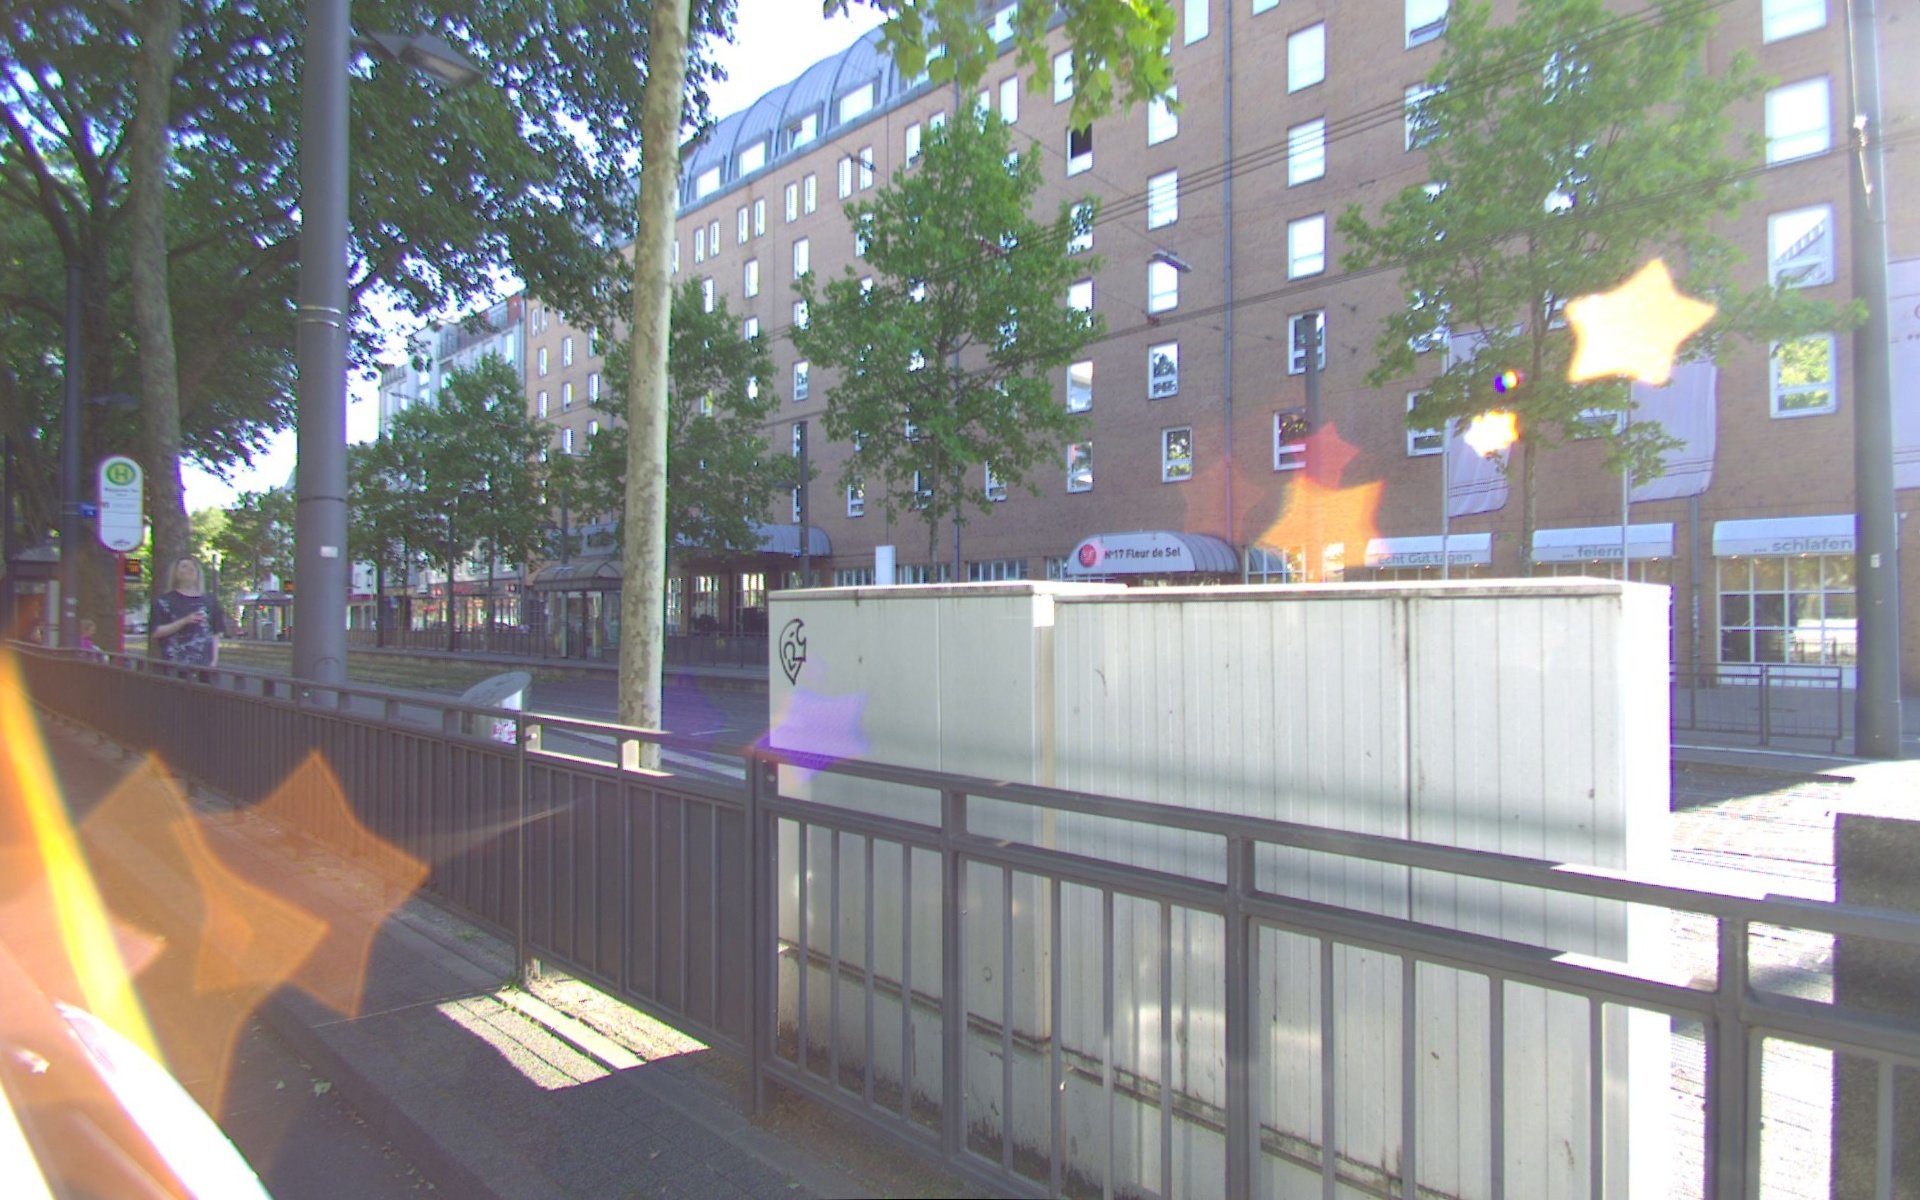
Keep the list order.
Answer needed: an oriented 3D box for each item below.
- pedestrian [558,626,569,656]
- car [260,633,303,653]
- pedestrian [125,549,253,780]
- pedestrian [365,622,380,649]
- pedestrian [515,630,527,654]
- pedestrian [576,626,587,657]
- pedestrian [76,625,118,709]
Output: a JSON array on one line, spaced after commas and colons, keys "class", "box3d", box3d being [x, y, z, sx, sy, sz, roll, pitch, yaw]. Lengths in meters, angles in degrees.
[{"class": "pedestrian", "box3d": [-19.961, 2.059, 50.899, 0.431, 1.518, 0.660, 1, -2, -27]}, {"class": "car", "box3d": [-52.565, 3.318, 78.389, 4.308, 1.500, 1.736, -2, -2, 42]}, {"class": "pedestrian", "box3d": [-6.603, 0.529, 8.688, 0.617, 1.897, 0.604, 1, 0, 13]}, {"class": "pedestrian", "box3d": [-45.834, 2.768, 78.926, 0.763, 2.029, 0.796, -2, -2, 41]}, {"class": "pedestrian", "box3d": [-27.396, 2.615, 63.105, 0.516, 1.447, 0.512, -2, -2, 44]}, {"class": "pedestrian", "box3d": [-19.180, 2.089, 51.328, 0.431, 1.532, 0.660, 1, -2, -27]}, {"class": "pedestrian", "box3d": [-13.945, 1.065, 16.352, 0.493, 1.325, 0.419, 1, -2, -41]}]
